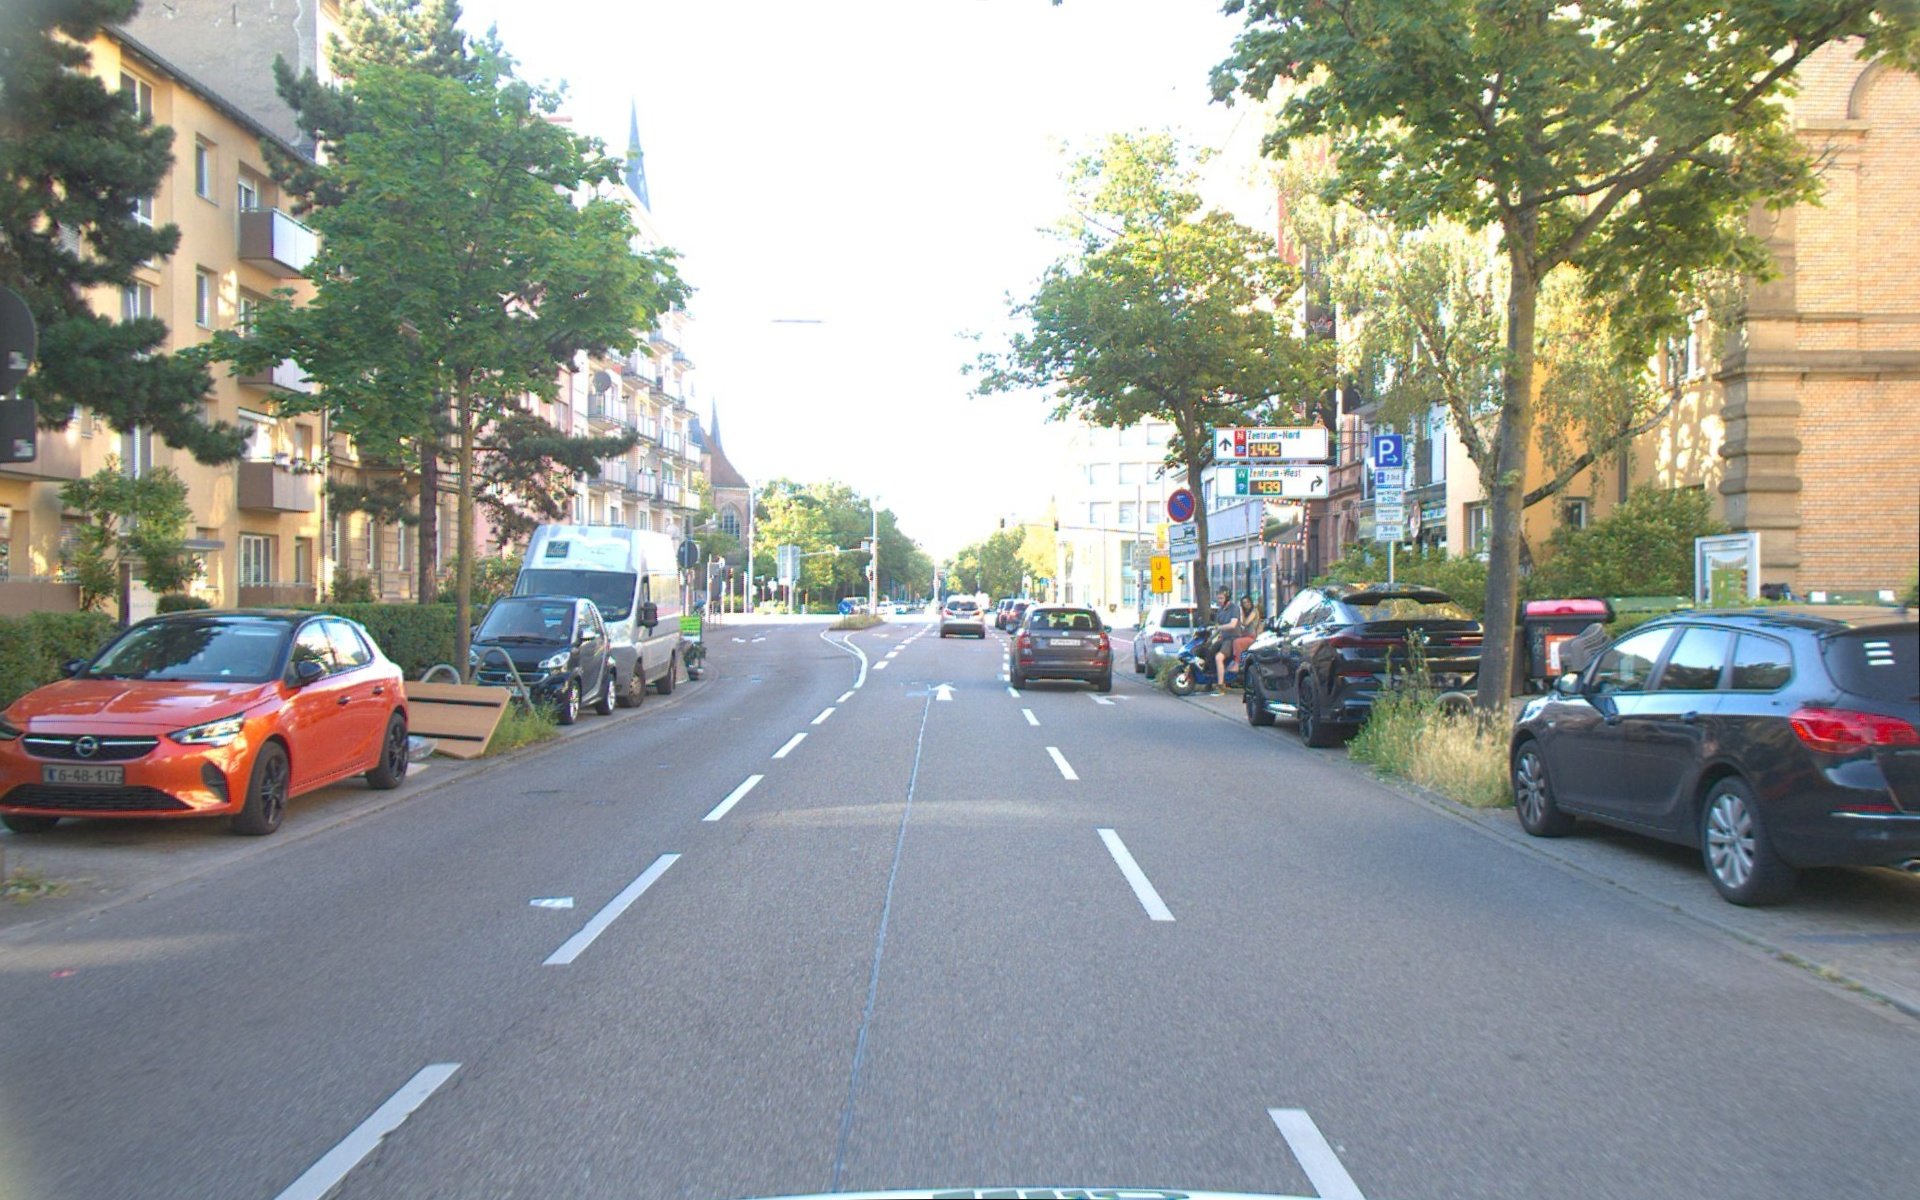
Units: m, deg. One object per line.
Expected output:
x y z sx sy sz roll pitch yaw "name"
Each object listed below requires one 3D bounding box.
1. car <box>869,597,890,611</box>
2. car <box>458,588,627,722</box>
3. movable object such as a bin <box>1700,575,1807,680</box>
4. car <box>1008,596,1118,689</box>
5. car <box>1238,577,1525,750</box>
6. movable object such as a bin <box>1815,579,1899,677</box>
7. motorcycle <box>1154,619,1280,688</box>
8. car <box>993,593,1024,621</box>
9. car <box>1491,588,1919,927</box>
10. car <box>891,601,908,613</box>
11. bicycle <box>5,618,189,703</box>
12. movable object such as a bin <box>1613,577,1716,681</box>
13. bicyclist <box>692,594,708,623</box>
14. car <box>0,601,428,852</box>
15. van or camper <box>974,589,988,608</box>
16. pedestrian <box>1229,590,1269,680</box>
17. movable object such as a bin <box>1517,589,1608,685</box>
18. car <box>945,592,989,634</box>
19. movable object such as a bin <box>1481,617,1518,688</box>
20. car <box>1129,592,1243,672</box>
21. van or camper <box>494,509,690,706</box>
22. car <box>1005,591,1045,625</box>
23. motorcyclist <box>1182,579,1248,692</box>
-7.575 0.398 155.765 1.743 1.257 4.000 0 0 0 "car"
-5.297 0.654 21.260 1.375 1.575 2.762 2 0 1 "car"
12.350 0.416 25.773 1.134 1.583 0.992 0 0 -10 "movable object such as a bin"
1.745 0.689 29.094 1.672 1.482 4.158 0 0 0 "car"
4.536 0.612 18.610 1.908 1.684 4.795 0 0 -1 "car"
13.890 0.420 25.655 1.117 1.467 0.993 0 0 28 "movable object such as a bin"
4.232 0.868 27.283 1.892 1.089 0.818 0 0 -13 "motorcycle"
2.612 0.353 89.393 1.552 1.472 3.647 1 0 0 "car"
4.758 0.696 9.720 1.682 1.498 4.429 -1 0 -2 "car"
-6.716 0.796 182.998 1.743 1.257 4.000 0 0 0 "car"
-10.447 0.726 20.054 1.896 0.941 0.582 2 0 0 "bicycle"
11.033 0.441 25.932 1.134 1.583 0.992 0 0 -10 "movable object such as a bin"
-15.338 0.494 97.454 0.766 1.689 0.900 1 -1 -1 "bicyclist"
-5.347 0.775 12.062 1.682 1.477 3.922 1 1 -1 "car"
3.041 -0.254 235.194 1.952 2.686 5.351 0 0 1 "van or camper"
4.737 0.557 27.129 0.430 1.455 0.702 0 0 -12 "pedestrian"
9.427 0.567 25.929 1.226 1.467 0.995 0 0 14 "movable object such as a bin"
0.260 0.475 64.804 1.672 1.536 4.309 1 0 0 "car"
8.420 0.815 25.822 0.483 1.077 0.548 0 0 12 "movable object such as a bin"
4.688 0.618 34.957 1.817 1.539 4.835 -2 0 1 "car"
-5.673 0.102 26.319 1.995 2.710 6.012 2 0 -3 "van or camper"
2.920 0.347 75.372 1.617 1.510 4.239 1 0 0 "car"
4.162 0.566 27.044 0.723 1.809 1.085 0 0 -12 "motorcyclist"
